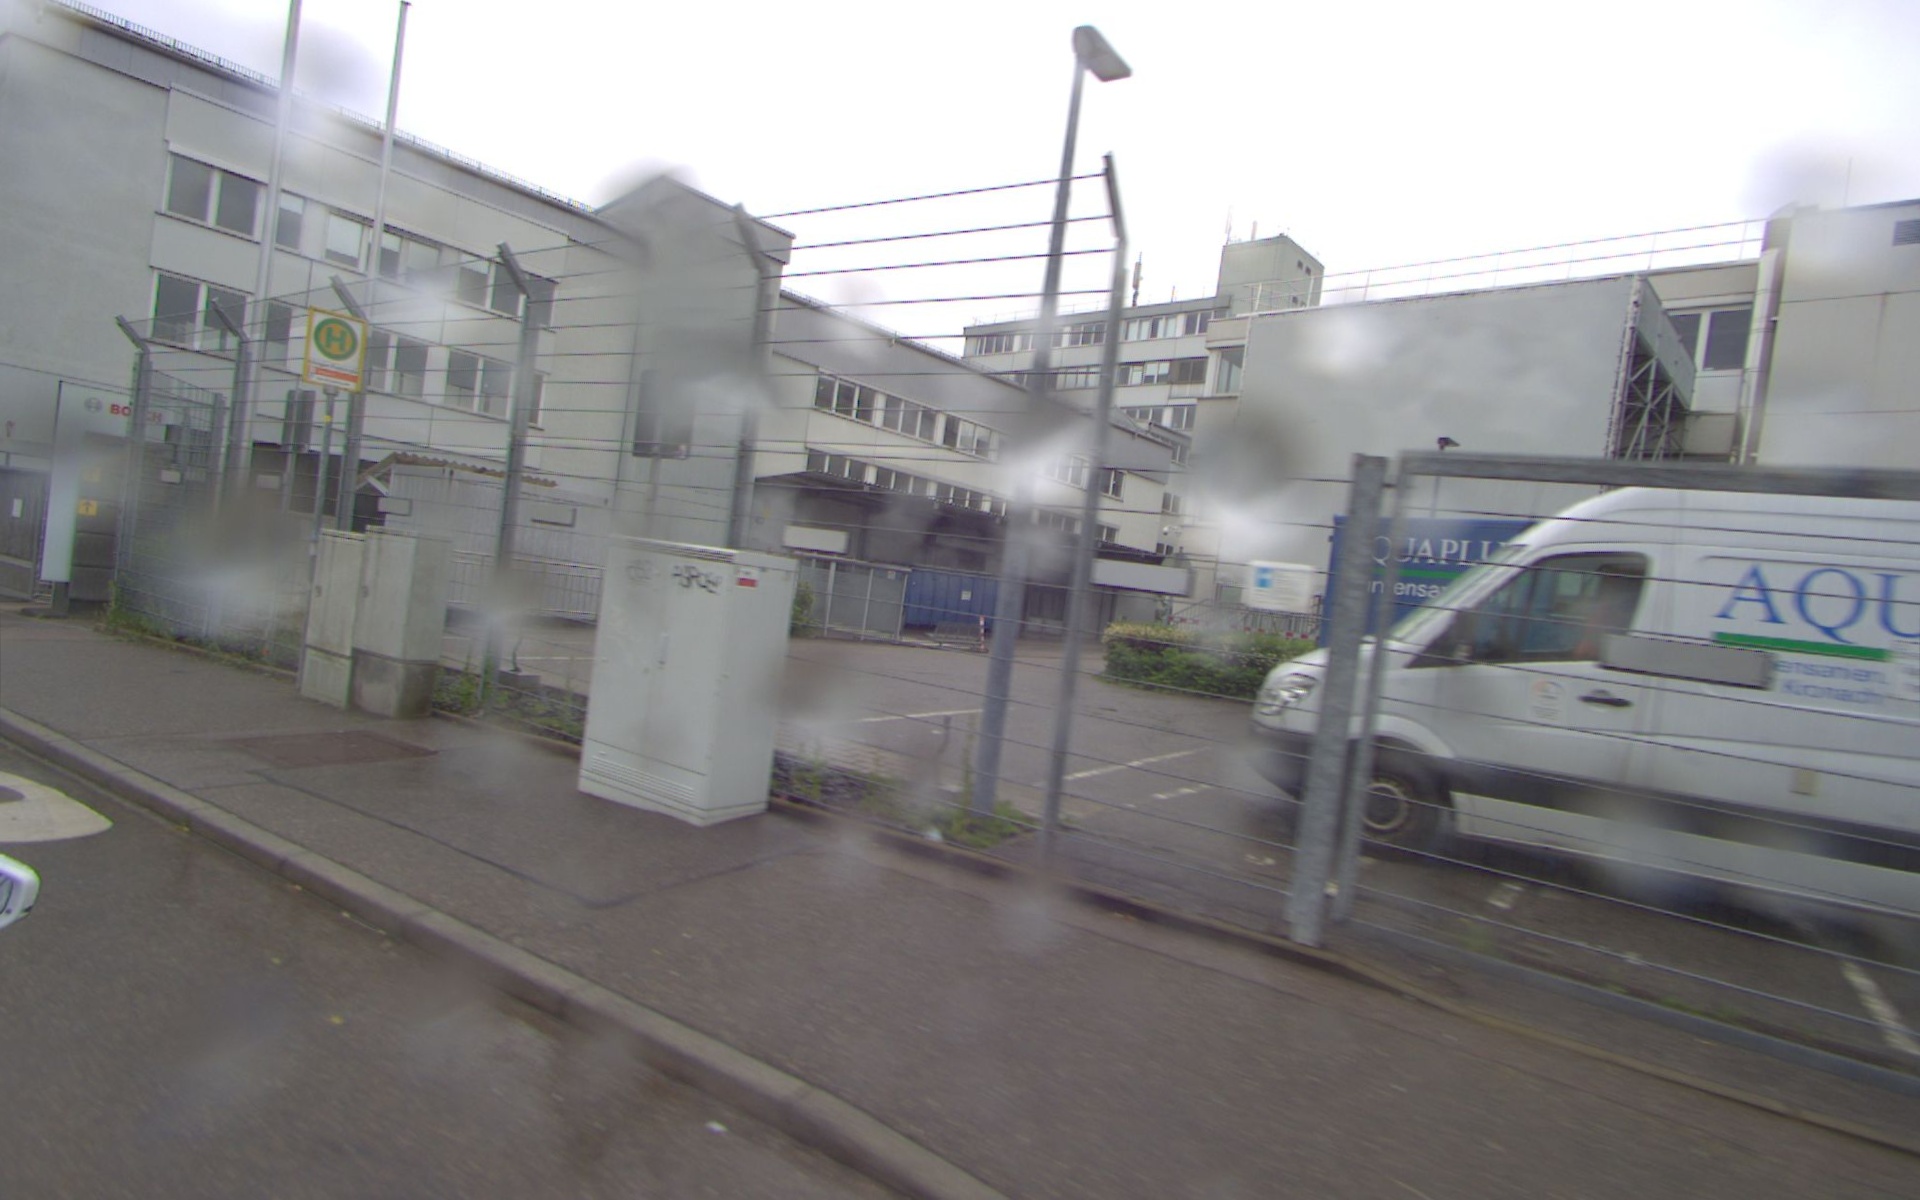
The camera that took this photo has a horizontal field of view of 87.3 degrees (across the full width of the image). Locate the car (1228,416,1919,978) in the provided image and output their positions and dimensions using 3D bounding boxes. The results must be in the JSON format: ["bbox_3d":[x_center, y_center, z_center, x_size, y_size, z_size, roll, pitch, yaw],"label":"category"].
[{"bbox_3d":[4.984,0.551,6.280,5.846,2.720,1.997,8,3,26],"label":"car"}]
